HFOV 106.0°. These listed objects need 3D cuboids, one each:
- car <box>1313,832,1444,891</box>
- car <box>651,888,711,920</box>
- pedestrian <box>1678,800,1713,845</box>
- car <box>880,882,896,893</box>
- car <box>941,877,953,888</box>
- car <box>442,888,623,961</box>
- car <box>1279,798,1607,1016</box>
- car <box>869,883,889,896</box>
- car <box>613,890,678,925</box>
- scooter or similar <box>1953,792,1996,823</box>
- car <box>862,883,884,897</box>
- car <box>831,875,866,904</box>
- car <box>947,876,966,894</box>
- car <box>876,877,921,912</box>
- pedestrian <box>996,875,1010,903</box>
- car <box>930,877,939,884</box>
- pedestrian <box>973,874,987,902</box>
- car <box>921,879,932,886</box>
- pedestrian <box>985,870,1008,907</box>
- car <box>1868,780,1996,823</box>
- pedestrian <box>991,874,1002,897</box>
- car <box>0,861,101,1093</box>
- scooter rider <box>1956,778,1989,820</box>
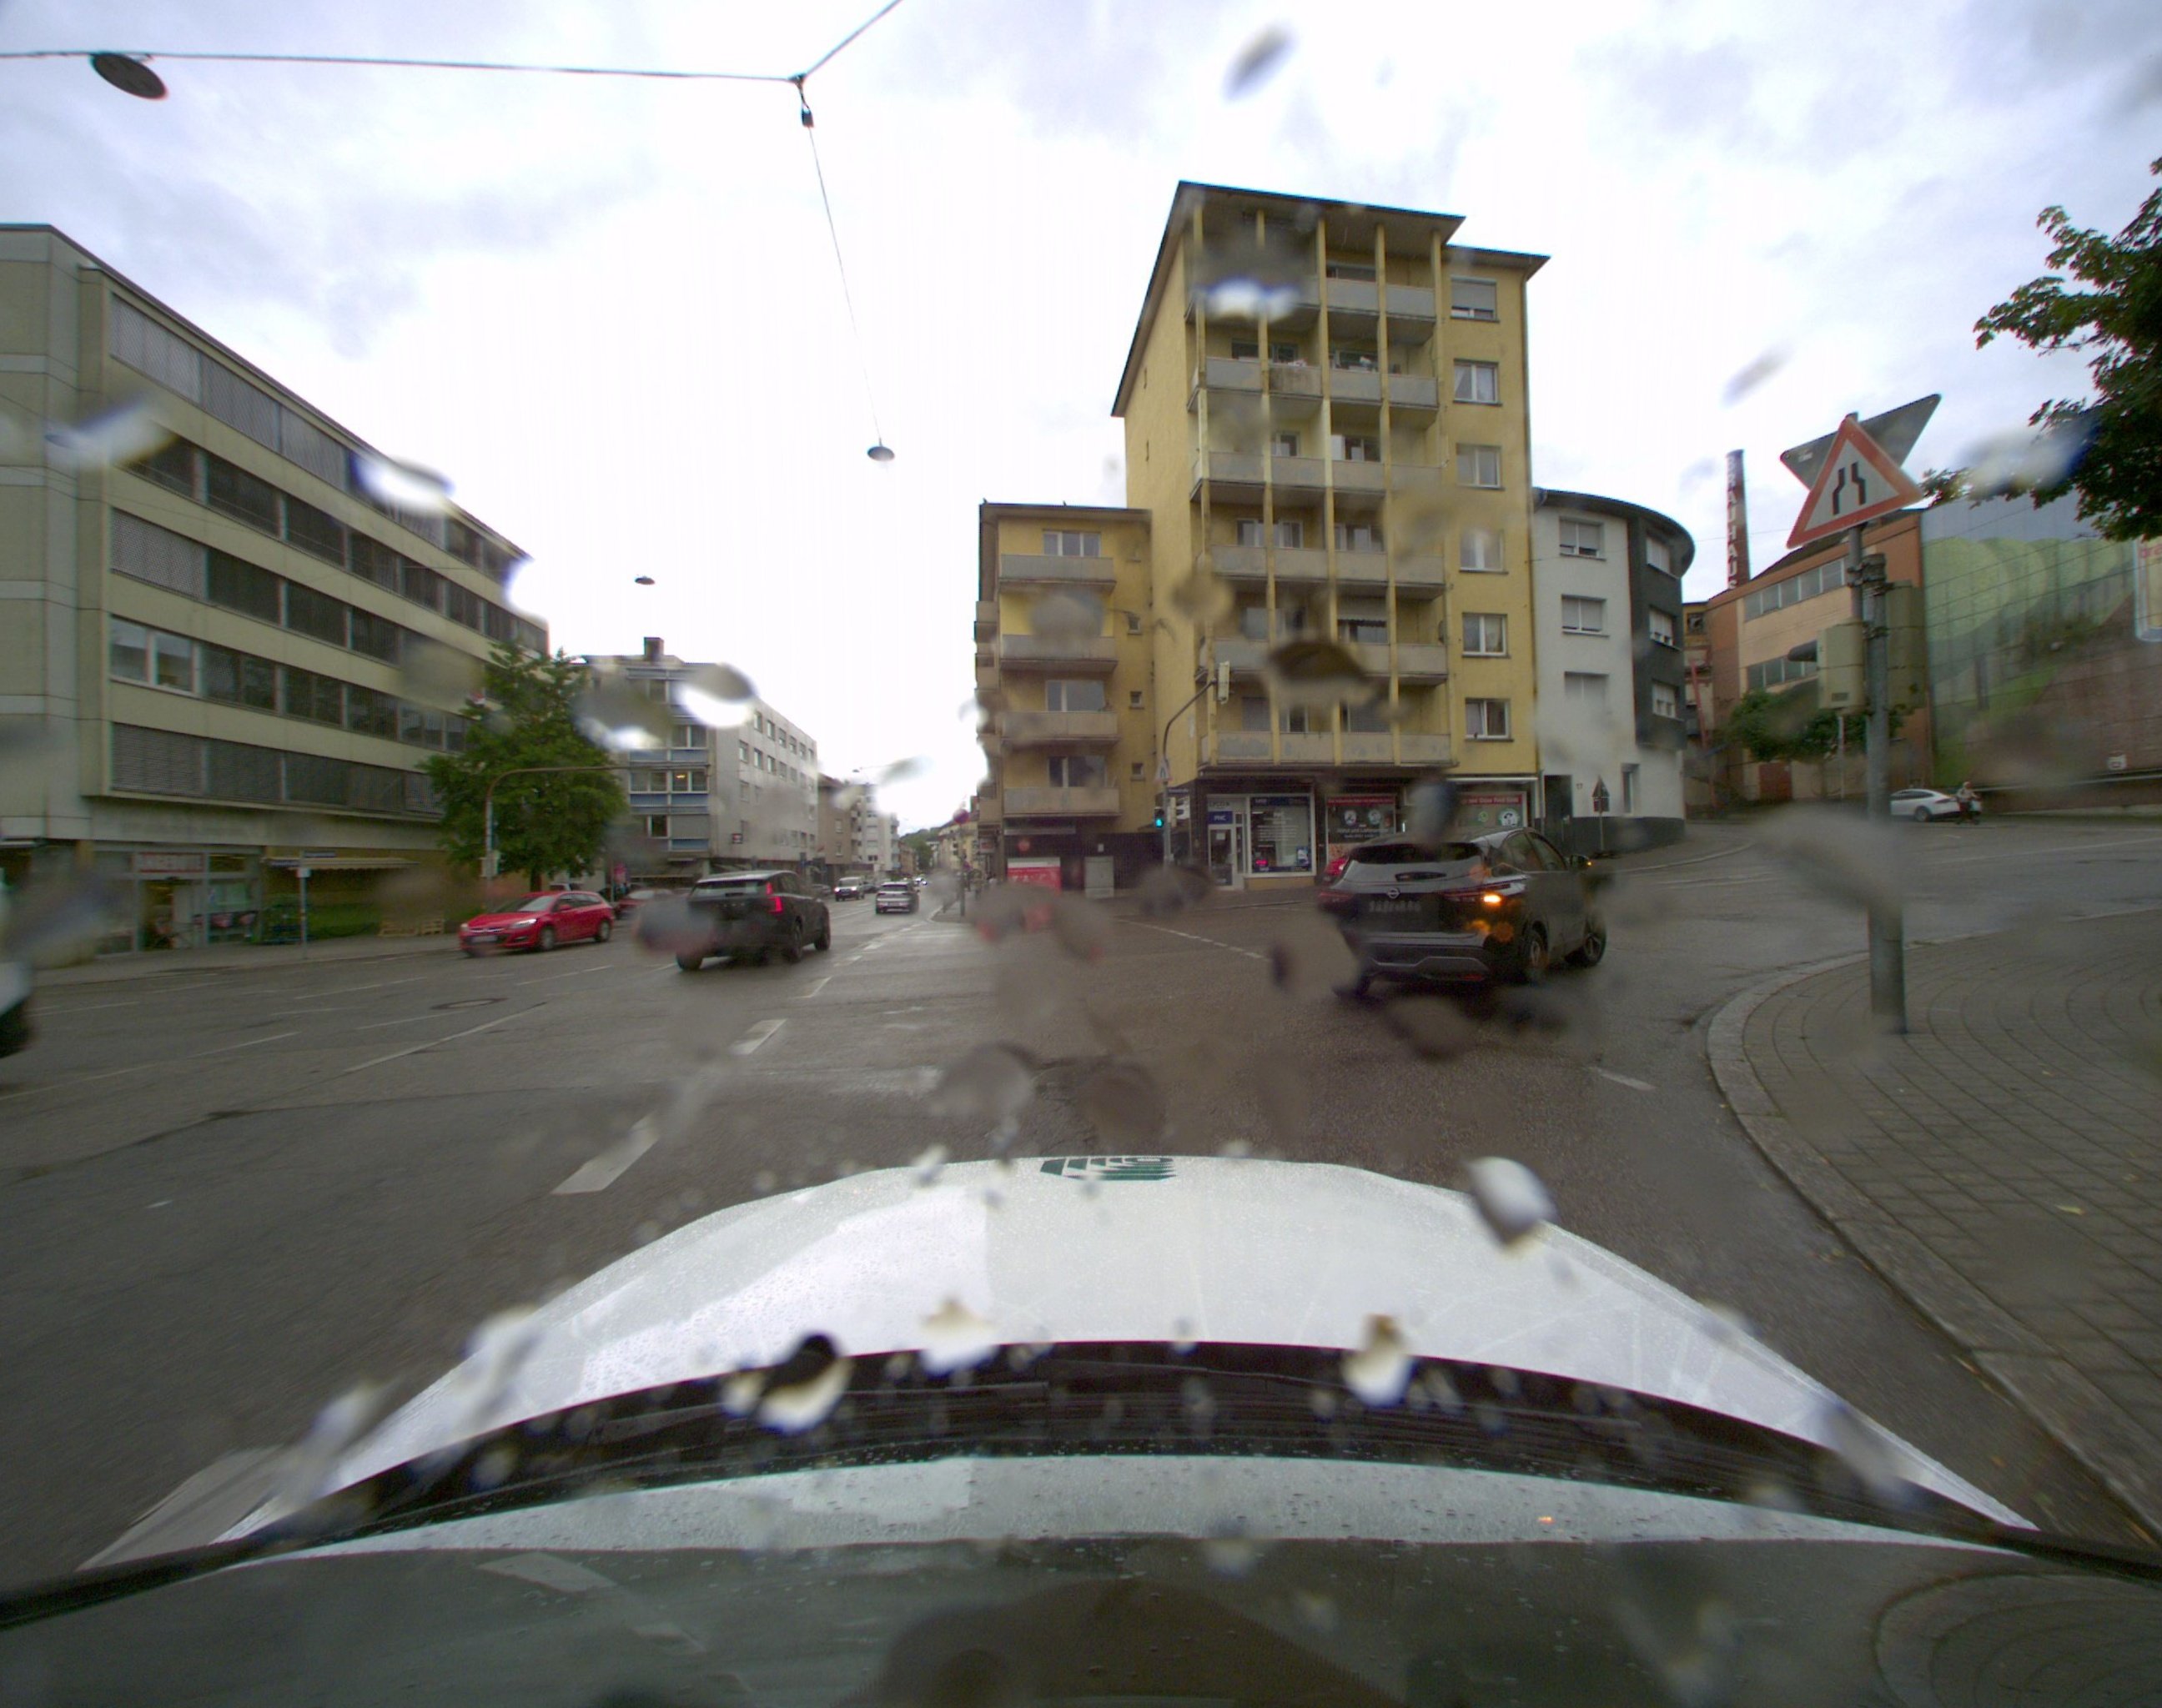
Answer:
[{"bbox_3d":[9.144,0.217,25.119,3.471,1.557,1.468,-3,1,-10],"label":"car"},{"bbox_3d":[-21.832,2.697,44.606,1.778,1.478,3.782,-3,-1,-8],"label":"car"},{"bbox_3d":[28.942,-1.483,38.374,0.985,2.013,1.260,-3,-1,24],"label":"pedestrian"},{"bbox_3d":[-28.325,4.906,119.432,1.994,1.453,3.986,-4,-1,-10],"label":"car"},{"bbox_3d":[-25.768,5.466,157.039,1.991,2.014,3.991,-3,-1,-6],"label":"car"},{"bbox_3d":[-13.756,1.707,20.797,1.801,1.409,4.385,-4,-1,-4],"label":"car"},{"bbox_3d":[3.879,0.385,8.317,1.940,1.653,4.026,-5,-1,40],"label":"car"},{"bbox_3d":[-25.935,4.532,104.839,1.993,1.453,3.988,-4,-1,-8],"label":"car"},{"bbox_3d":[-21.193,2.577,39.798,1.672,1.478,3.596,-3,-1,-9],"label":"car"},{"bbox_3d":[39.992,-2.082,36.478,0.570,1.293,1.492,-4,-1,18],"label":"scooter or similar"},{"bbox_3d":[-25.222,4.381,98.807,1.992,1.453,3.989,-4,-1,-8],"label":"car"},{"bbox_3d":[-18.124,2.765,63.756,1.909,2.013,3.990,-4,-1,-7],"label":"car"},{"bbox_3d":[-15.147,3.727,98.965,1.994,2.013,3.986,-4,-1,-10],"label":"car"},{"bbox_3d":[-8.544,1.858,38.419,1.767,1.444,3.987,-2,-1,-9],"label":"car"},{"bbox_3d":[-3.622,1.595,37.752,0.463,1.233,0.553,-7,0,-8],"label":"pedestrian"},{"bbox_3d":[-36.484,6.684,203.179,1.993,1.637,4.815,-3,-1,-9],"label":"car"},{"bbox_3d":[-5.884,1.980,47.616,0.701,1.558,0.630,-1,-1,1],"label":"pedestrian"},{"bbox_3d":[-33.857,6.266,178.605,1.993,1.486,3.987,-3,-1,-9],"label":"car"},{"bbox_3d":[-3.892,1.566,37.374,0.835,1.558,0.830,-7,0,-9],"label":"pedestrian"},{"bbox_3d":[42.842,-2.583,41.191,1.908,1.711,4.722,-4,-1,9],"label":"car"},{"bbox_3d":[-5.792,2.169,55.784,0.624,1.558,0.707,-1,-1,7],"label":"pedestrian"},{"bbox_3d":[-9.249,0.977,4.795,1.776,1.816,4.398,-3,-1,-5],"label":"car"},{"bbox_3d":[39.958,-2.444,36.505,0.663,1.806,0.688,-4,-1,17],"label":"scooter rider"}]
